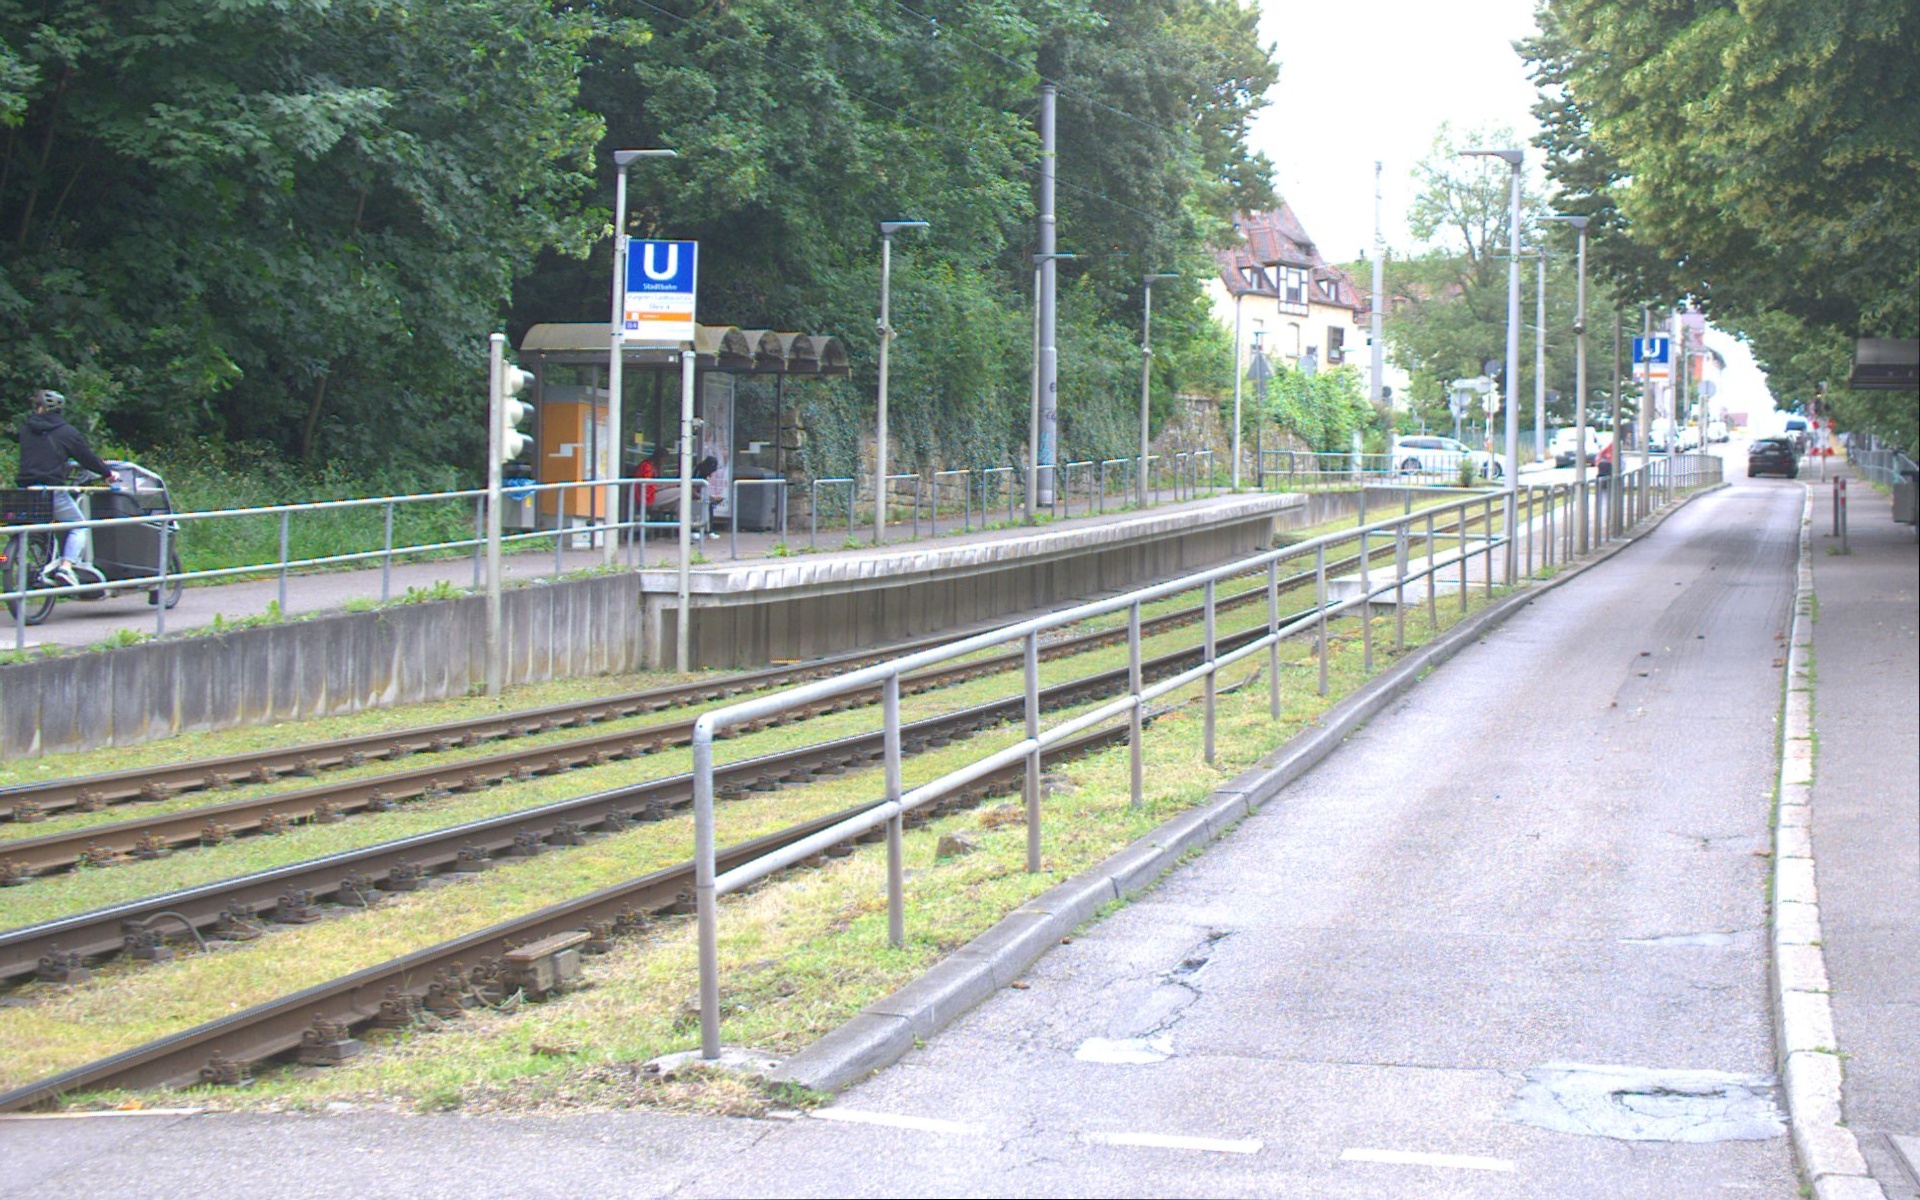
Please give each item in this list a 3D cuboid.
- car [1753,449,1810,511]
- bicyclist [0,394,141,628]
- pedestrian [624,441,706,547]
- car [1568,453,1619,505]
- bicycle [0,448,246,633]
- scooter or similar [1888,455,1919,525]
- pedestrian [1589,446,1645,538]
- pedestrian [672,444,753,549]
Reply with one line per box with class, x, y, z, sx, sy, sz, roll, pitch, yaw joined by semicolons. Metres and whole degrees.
car;32.218;-4.673;134.789;1.995;2.138;3.997;4;0;14
bicyclist;-6.945;-0.700;26.254;0.734;1.705;1.291;4;4;17
pedestrian;-3.816;-1.374;44.494;0.772;1.321;0.786;4;3;14
car;29.844;-5.672;161.950;1.995;2.138;3.997;4;0;14
bicycle;-6.757;-0.511;26.889;0.734;1.285;3.344;4;4;17
scooter or similar;16.449;-1.905;59.857;0.343;1.153;1.146;4;0;8
pedestrian;10.462;-1.725;54.747;0.743;1.404;0.746;4;4;14
pedestrian;-3.281;-1.367;45.617;0.772;1.321;0.786;4;0;14
